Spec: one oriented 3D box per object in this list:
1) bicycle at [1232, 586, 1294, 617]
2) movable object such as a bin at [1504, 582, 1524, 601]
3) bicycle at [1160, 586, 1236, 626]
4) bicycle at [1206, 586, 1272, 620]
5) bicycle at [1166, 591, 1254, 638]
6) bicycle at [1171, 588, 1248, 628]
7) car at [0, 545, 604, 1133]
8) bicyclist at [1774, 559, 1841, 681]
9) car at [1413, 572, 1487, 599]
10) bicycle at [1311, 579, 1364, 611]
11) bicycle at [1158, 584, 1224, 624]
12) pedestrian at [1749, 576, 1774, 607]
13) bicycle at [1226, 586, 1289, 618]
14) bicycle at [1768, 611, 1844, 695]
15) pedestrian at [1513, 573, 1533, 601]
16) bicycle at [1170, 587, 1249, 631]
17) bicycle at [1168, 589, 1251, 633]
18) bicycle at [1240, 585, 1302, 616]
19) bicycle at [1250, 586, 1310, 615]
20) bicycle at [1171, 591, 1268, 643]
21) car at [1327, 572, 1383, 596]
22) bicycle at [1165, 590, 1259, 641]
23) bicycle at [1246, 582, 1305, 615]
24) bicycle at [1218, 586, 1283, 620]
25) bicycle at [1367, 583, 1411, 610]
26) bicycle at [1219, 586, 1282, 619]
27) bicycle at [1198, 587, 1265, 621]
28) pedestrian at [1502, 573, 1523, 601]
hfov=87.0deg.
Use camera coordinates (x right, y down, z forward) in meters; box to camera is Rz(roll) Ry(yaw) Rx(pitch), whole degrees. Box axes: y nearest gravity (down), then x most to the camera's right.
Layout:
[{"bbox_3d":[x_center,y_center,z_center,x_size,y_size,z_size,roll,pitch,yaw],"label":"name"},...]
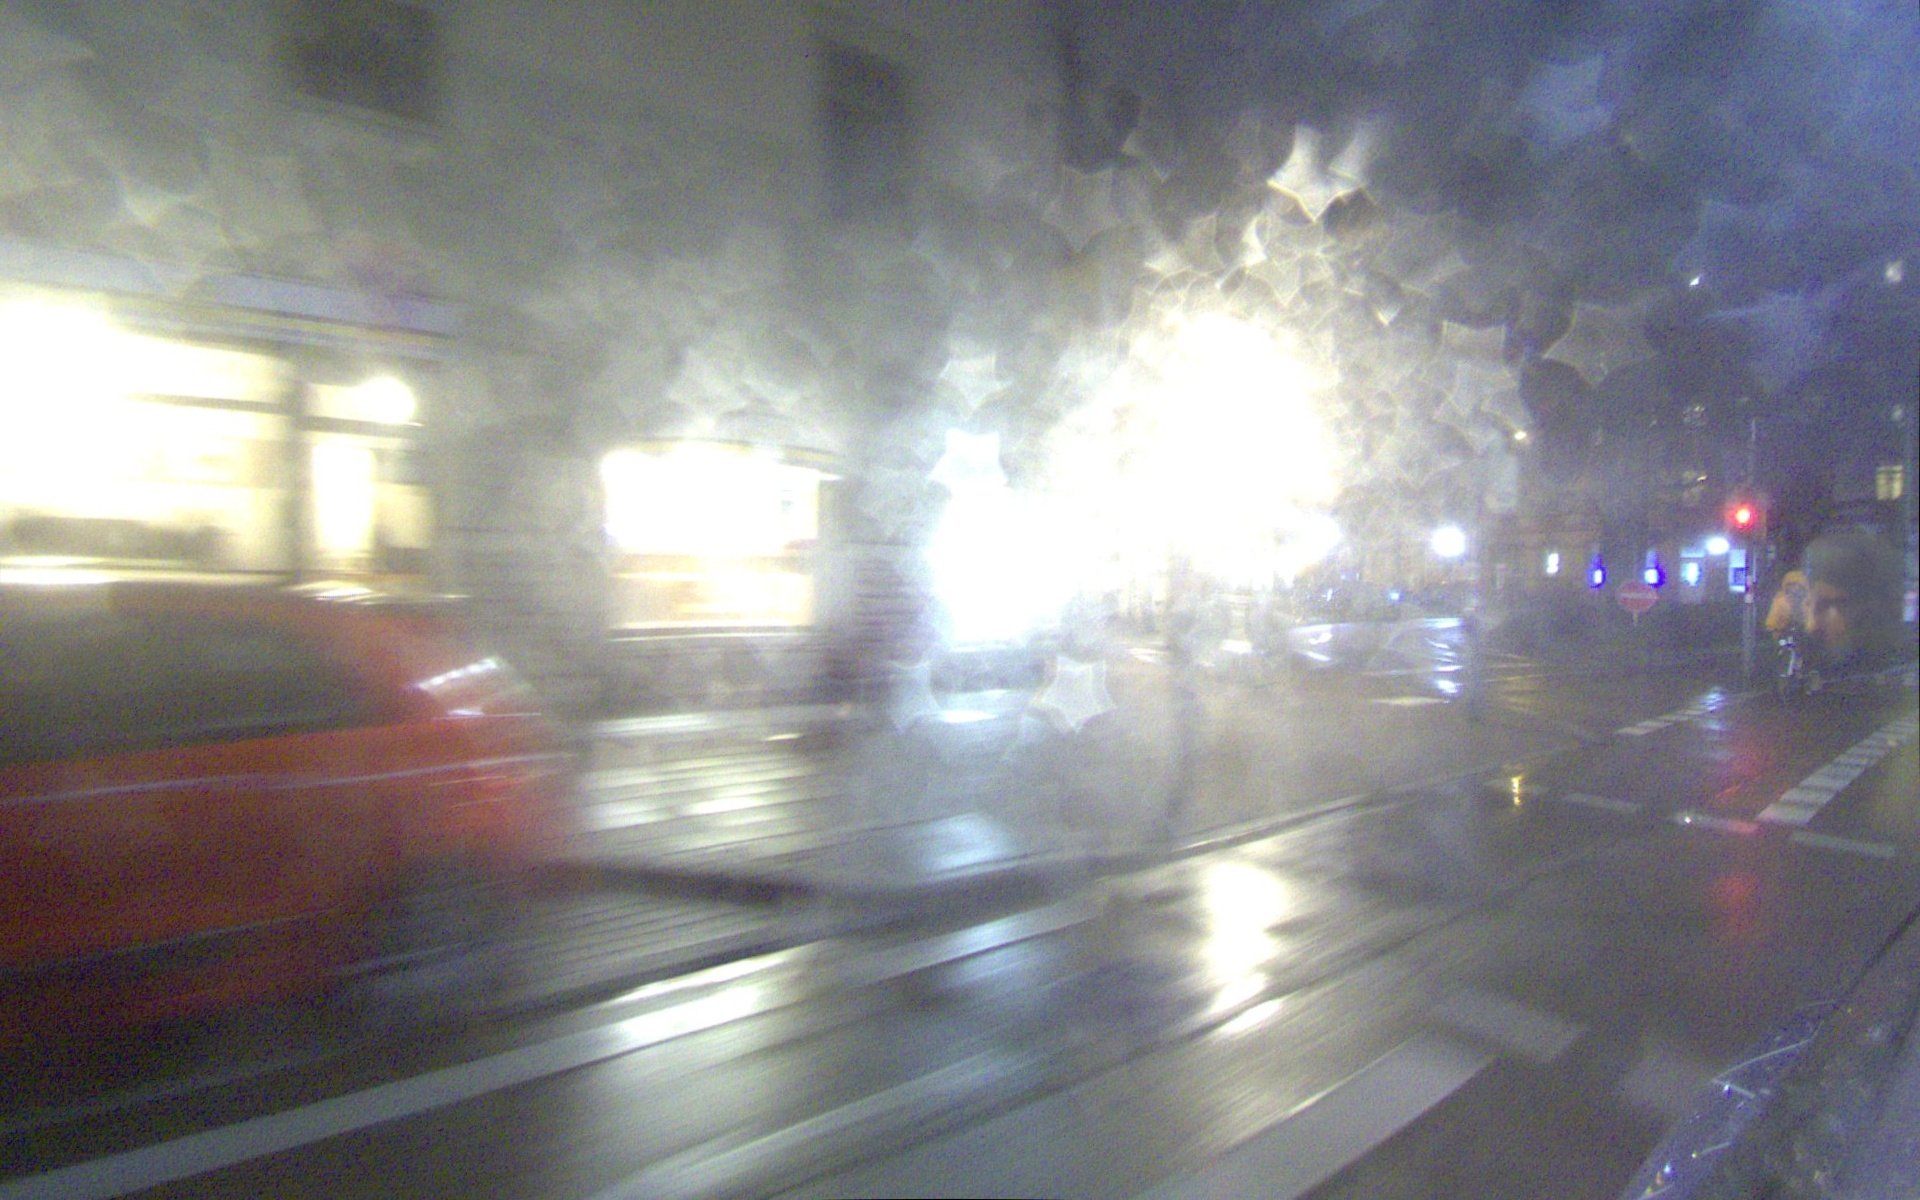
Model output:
[{"bbox_3d":[10.444,0.042,34.944,1.967,1.019,0.633,2,2,42],"label":"bicycle"},{"bbox_3d":[34.072,-0.517,62.252,0.621,1.130,0.924,-2,0,-9],"label":"movable object such as a bin"},{"bbox_3d":[6.535,0.160,27.831,1.936,1.066,0.643,0,1,-2],"label":"bicycle"},{"bbox_3d":[8.980,0.084,32.583,1.967,1.046,0.633,2,2,42],"label":"bicycle"},{"bbox_3d":[5.750,0.319,23.352,1.945,1.019,0.640,1,2,13],"label":"bicycle"},{"bbox_3d":[6.765,0.206,27.496,1.967,1.019,0.633,2,2,42],"label":"bicycle"},{"bbox_3d":[-3.206,0.629,3.328,3.513,1.542,1.654,-1,5,-36],"label":"car"},{"bbox_3d":[11.255,0.249,13.432,0.803,1.567,0.571,-1,-1,-44],"label":"bicyclist"},{"bbox_3d":[31.077,-0.921,64.335,1.850,1.613,4.505,-2,1,-12],"label":"car"},{"bbox_3d":[14.987,-0.217,40.192,1.867,1.232,0.719,2,2,42],"label":"bicycle"},{"bbox_3d":[6.593,0.094,28.929,1.798,1.100,0.718,1,2,14],"label":"bicycle"},{"bbox_3d":[39.661,-0.435,50.092,0.760,1.512,0.629,-2,-1,25],"label":"pedestrian"},{"bbox_3d":[10.068,0.056,34.307,1.967,1.019,0.633,2,2,42],"label":"bicycle"},{"bbox_3d":[11.160,0.669,13.332,1.751,0.981,0.570,-2,0,-45],"label":"bicycle"},{"bbox_3d":[34.194,-0.789,61.460,0.621,1.658,0.844,-2,-1,-9],"label":"pedestrian"},{"bbox_3d":[6.424,0.218,26.086,1.945,1.078,0.640,1,1,13],"label":"bicycle"},{"bbox_3d":[6.091,0.261,24.766,1.945,1.019,0.640,1,2,13],"label":"bicycle"},{"bbox_3d":[10.897,0.020,35.485,1.967,1.019,0.678,2,2,42],"label":"bicycle"},{"bbox_3d":[11.424,0.006,36.151,1.925,0.999,0.719,2,2,42],"label":"bicycle"},{"bbox_3d":[5.446,0.346,21.326,1.945,1.019,0.640,1,2,13],"label":"bicycle"},{"bbox_3d":[29.094,-1.187,74.738,1.842,1.725,4.294,-2,1,-10],"label":"car"},{"bbox_3d":[5.463,0.322,22.052,1.945,1.047,0.640,1,1,13],"label":"bicycle"},{"bbox_3d":[11.472,-0.071,36.814,1.925,1.129,0.719,2,2,42],"label":"bicycle"},{"bbox_3d":[9.495,0.084,33.109,1.967,1.019,0.633,2,2,42],"label":"bicycle"},{"bbox_3d":[18.015,-0.144,42.506,1.618,1.094,0.557,1,3,41],"label":"bicycle"},{"bbox_3d":[9.688,0.068,33.787,1.967,1.019,0.633,2,2,42],"label":"bicycle"},{"bbox_3d":[8.576,0.117,32.016,1.967,1.019,0.633,2,2,42],"label":"bicycle"},{"bbox_3d":[33.525,-0.777,61.391,0.621,1.658,0.876,-2,-1,-9],"label":"pedestrian"}]
